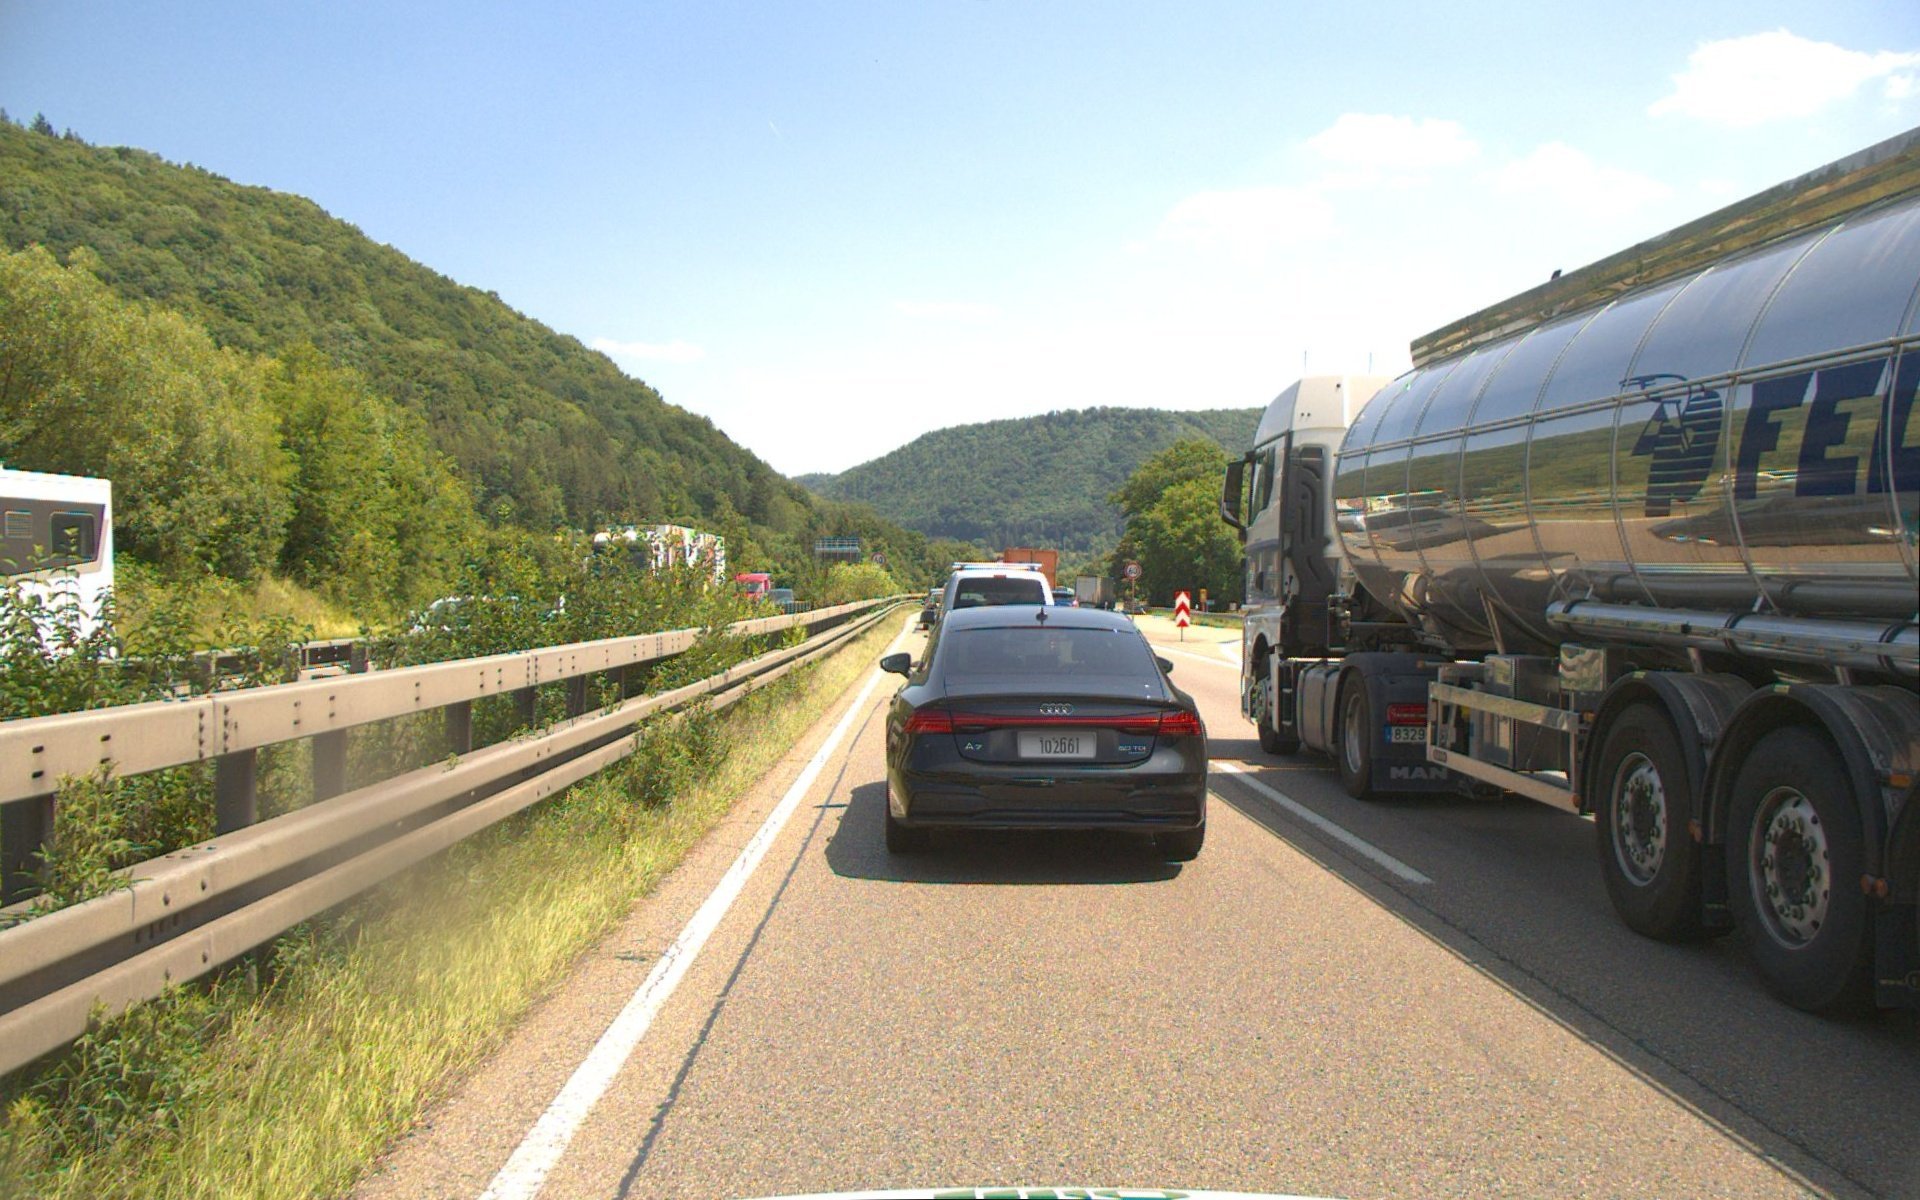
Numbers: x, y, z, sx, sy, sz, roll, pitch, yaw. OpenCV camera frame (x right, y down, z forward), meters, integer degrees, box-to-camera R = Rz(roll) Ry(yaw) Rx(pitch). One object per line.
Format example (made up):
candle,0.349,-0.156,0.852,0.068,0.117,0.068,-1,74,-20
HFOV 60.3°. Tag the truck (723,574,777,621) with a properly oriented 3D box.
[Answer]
truck,-12.221,-0.160,96.857,2.249,2.633,7.966,1,0,-1

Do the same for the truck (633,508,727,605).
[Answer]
truck,-12.389,-1.846,73.851,2.811,4.050,9.029,1,0,-1

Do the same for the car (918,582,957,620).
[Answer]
car,-0.997,0.036,75.387,1.677,1.646,4.000,0,0,0

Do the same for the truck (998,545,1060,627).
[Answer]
truck,3.639,-0.761,90.520,2.760,4.073,14.955,1,0,0

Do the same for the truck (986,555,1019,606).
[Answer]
truck,3.037,-1.405,120.482,1.953,3.507,11.809,1,0,-1

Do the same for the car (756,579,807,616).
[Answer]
car,-8.558,-0.136,79.675,1.953,1.670,5.031,1,0,-1

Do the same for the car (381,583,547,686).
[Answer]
car,-8.706,0.556,29.368,1.733,1.682,4.000,1,0,0

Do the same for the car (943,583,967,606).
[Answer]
car,-0.367,-0.422,120.390,1.677,1.646,4.000,0,0,0

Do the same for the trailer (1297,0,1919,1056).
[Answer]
trailer,4.285,-0.436,8.256,2.487,3.801,11.888,1,0,-1

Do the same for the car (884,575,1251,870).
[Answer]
car,0.470,0.627,10.584,1.813,1.514,4.080,1,0,-4

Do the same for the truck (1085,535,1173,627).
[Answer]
truck,8.135,-0.896,81.645,2.760,4.073,14.955,1,0,0

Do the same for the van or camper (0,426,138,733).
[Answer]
van or camper,-11.885,-0.219,17.660,2.537,3.394,7.646,0,0,-1

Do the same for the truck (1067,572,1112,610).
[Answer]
truck,16.108,-1.123,204.335,3.712,4.491,14.968,0,0,11

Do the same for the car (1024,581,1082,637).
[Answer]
car,3.450,0.305,62.047,1.952,2.037,4.000,0,0,0

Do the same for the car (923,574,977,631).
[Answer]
car,-0.398,0.073,61.996,1.953,2.049,3.999,0,0,-1

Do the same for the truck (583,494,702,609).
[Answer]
truck,-12.145,-1.759,64.190,2.811,4.076,10.168,1,0,-1

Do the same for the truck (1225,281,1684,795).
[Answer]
truck,4.135,-0.474,15.025,2.460,3.824,5.244,1,0,-1

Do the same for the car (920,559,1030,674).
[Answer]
car,0.240,0.291,31.744,1.953,2.049,3.999,1,0,-1

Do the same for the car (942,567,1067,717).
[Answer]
car,0.542,0.520,22.861,1.544,1.865,3.999,1,0,-1

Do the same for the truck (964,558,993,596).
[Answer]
truck,1.735,-2.138,157.094,2.575,3.500,11.419,0,0,0
